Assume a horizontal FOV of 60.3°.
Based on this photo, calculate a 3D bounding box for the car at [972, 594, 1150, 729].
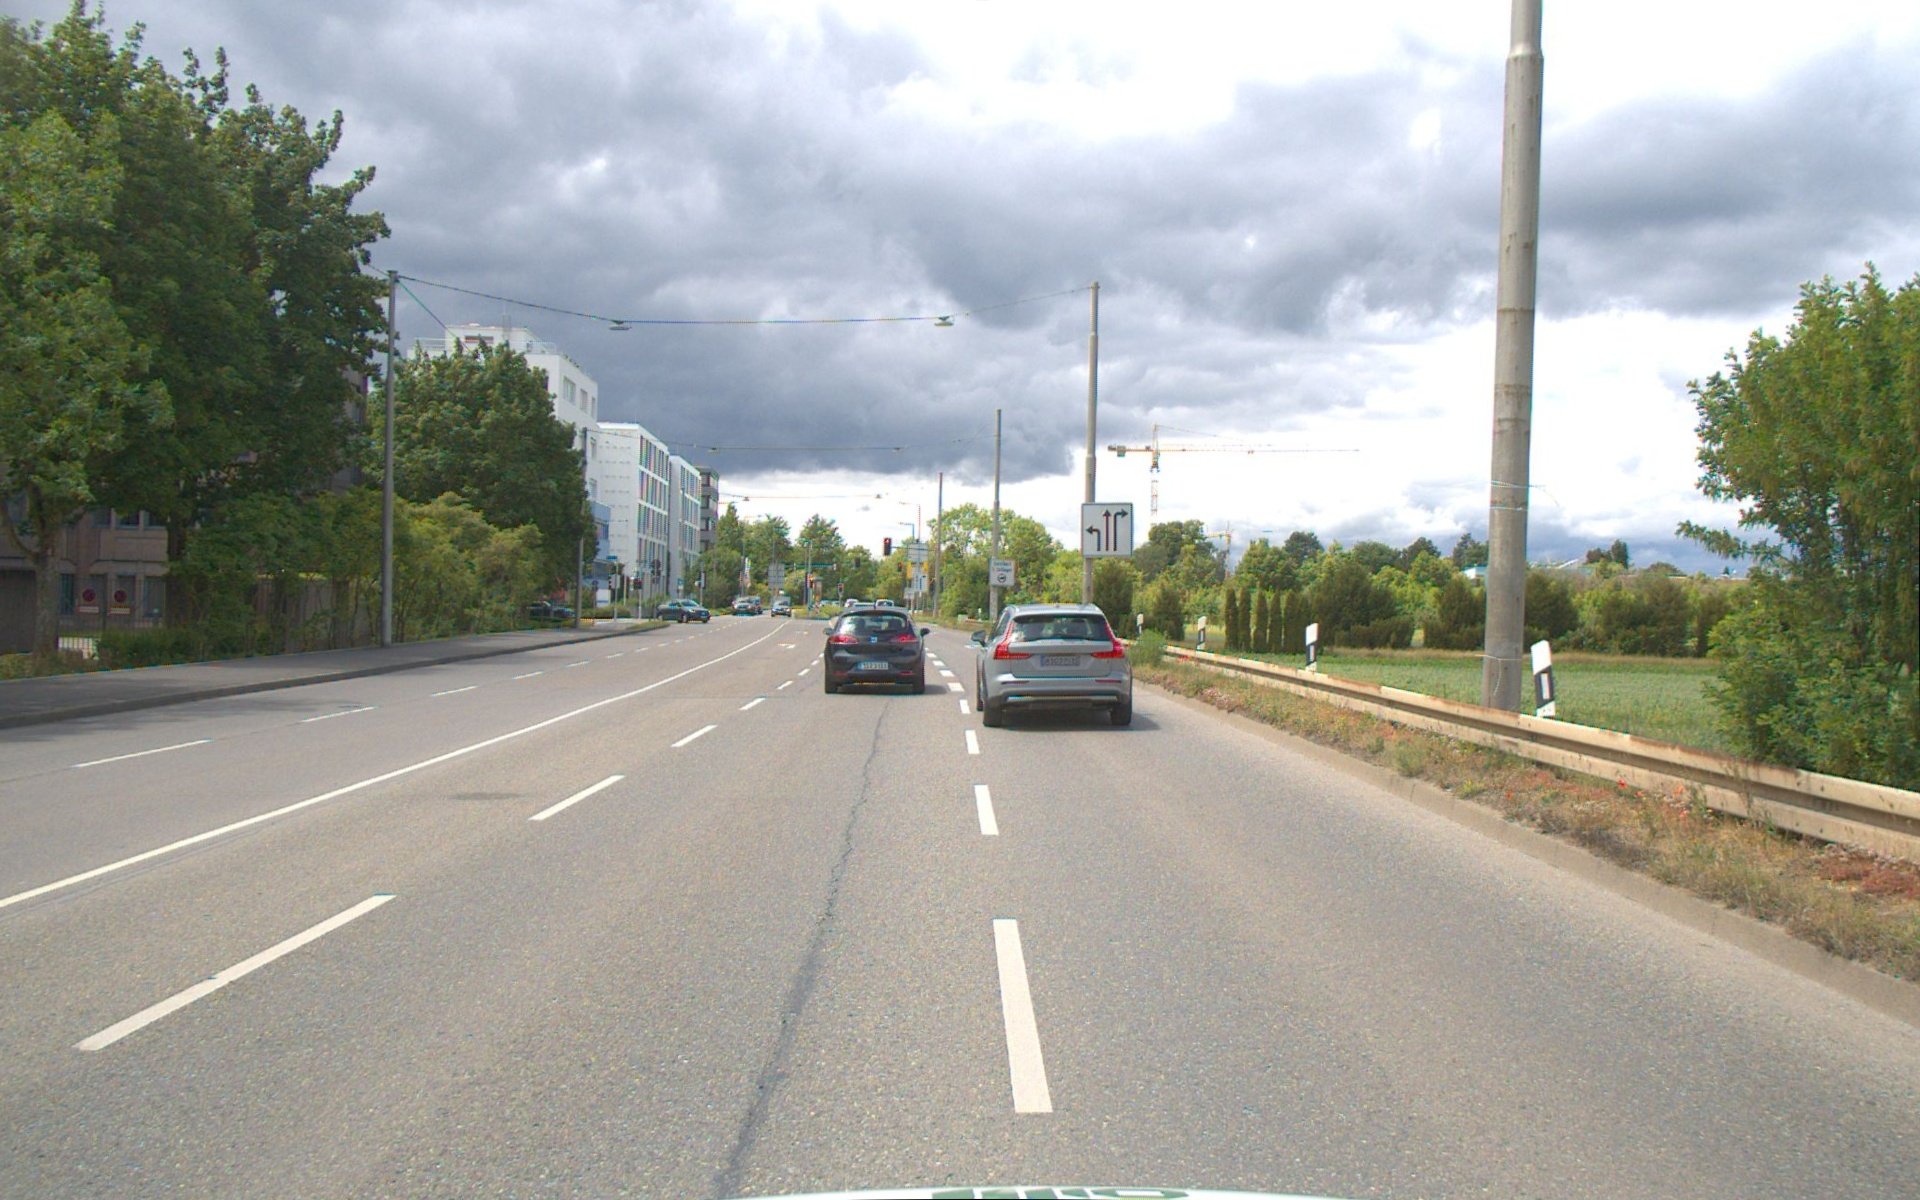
[{"bbox_3d":[1.200,0.740,21.534,1.918,1.552,4.338,0,-1,-2],"label":"car"}]

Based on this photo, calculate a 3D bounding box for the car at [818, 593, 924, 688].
[{"bbox_3d":[-1.511,0.686,29.076,1.712,1.510,3.998,1,-1,-2],"label":"car"}]

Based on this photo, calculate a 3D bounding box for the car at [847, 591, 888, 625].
[{"bbox_3d":[-4.866,0.415,86.547,1.945,1.618,4.221,2,1,-6],"label":"car"}]

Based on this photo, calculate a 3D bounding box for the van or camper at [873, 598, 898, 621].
[{"bbox_3d":[-7.090,0.896,157.101,1.864,1.959,3.993,4,-1,-8],"label":"van or camper"}]

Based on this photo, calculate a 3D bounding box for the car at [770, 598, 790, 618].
[{"bbox_3d":[-15.777,0.683,144.809,1.636,1.551,4.004,-1,1,-5],"label":"car"}]

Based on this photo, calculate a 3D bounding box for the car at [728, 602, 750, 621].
[{"bbox_3d":[-19.472,1.024,146.000,1.717,1.659,3.996,-1,0,-5],"label":"car"}]

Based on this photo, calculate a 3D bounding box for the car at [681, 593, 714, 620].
[{"bbox_3d":[-17.377,0.422,109.541,1.761,1.612,4.309,4,-1,-5],"label":"car"}]
